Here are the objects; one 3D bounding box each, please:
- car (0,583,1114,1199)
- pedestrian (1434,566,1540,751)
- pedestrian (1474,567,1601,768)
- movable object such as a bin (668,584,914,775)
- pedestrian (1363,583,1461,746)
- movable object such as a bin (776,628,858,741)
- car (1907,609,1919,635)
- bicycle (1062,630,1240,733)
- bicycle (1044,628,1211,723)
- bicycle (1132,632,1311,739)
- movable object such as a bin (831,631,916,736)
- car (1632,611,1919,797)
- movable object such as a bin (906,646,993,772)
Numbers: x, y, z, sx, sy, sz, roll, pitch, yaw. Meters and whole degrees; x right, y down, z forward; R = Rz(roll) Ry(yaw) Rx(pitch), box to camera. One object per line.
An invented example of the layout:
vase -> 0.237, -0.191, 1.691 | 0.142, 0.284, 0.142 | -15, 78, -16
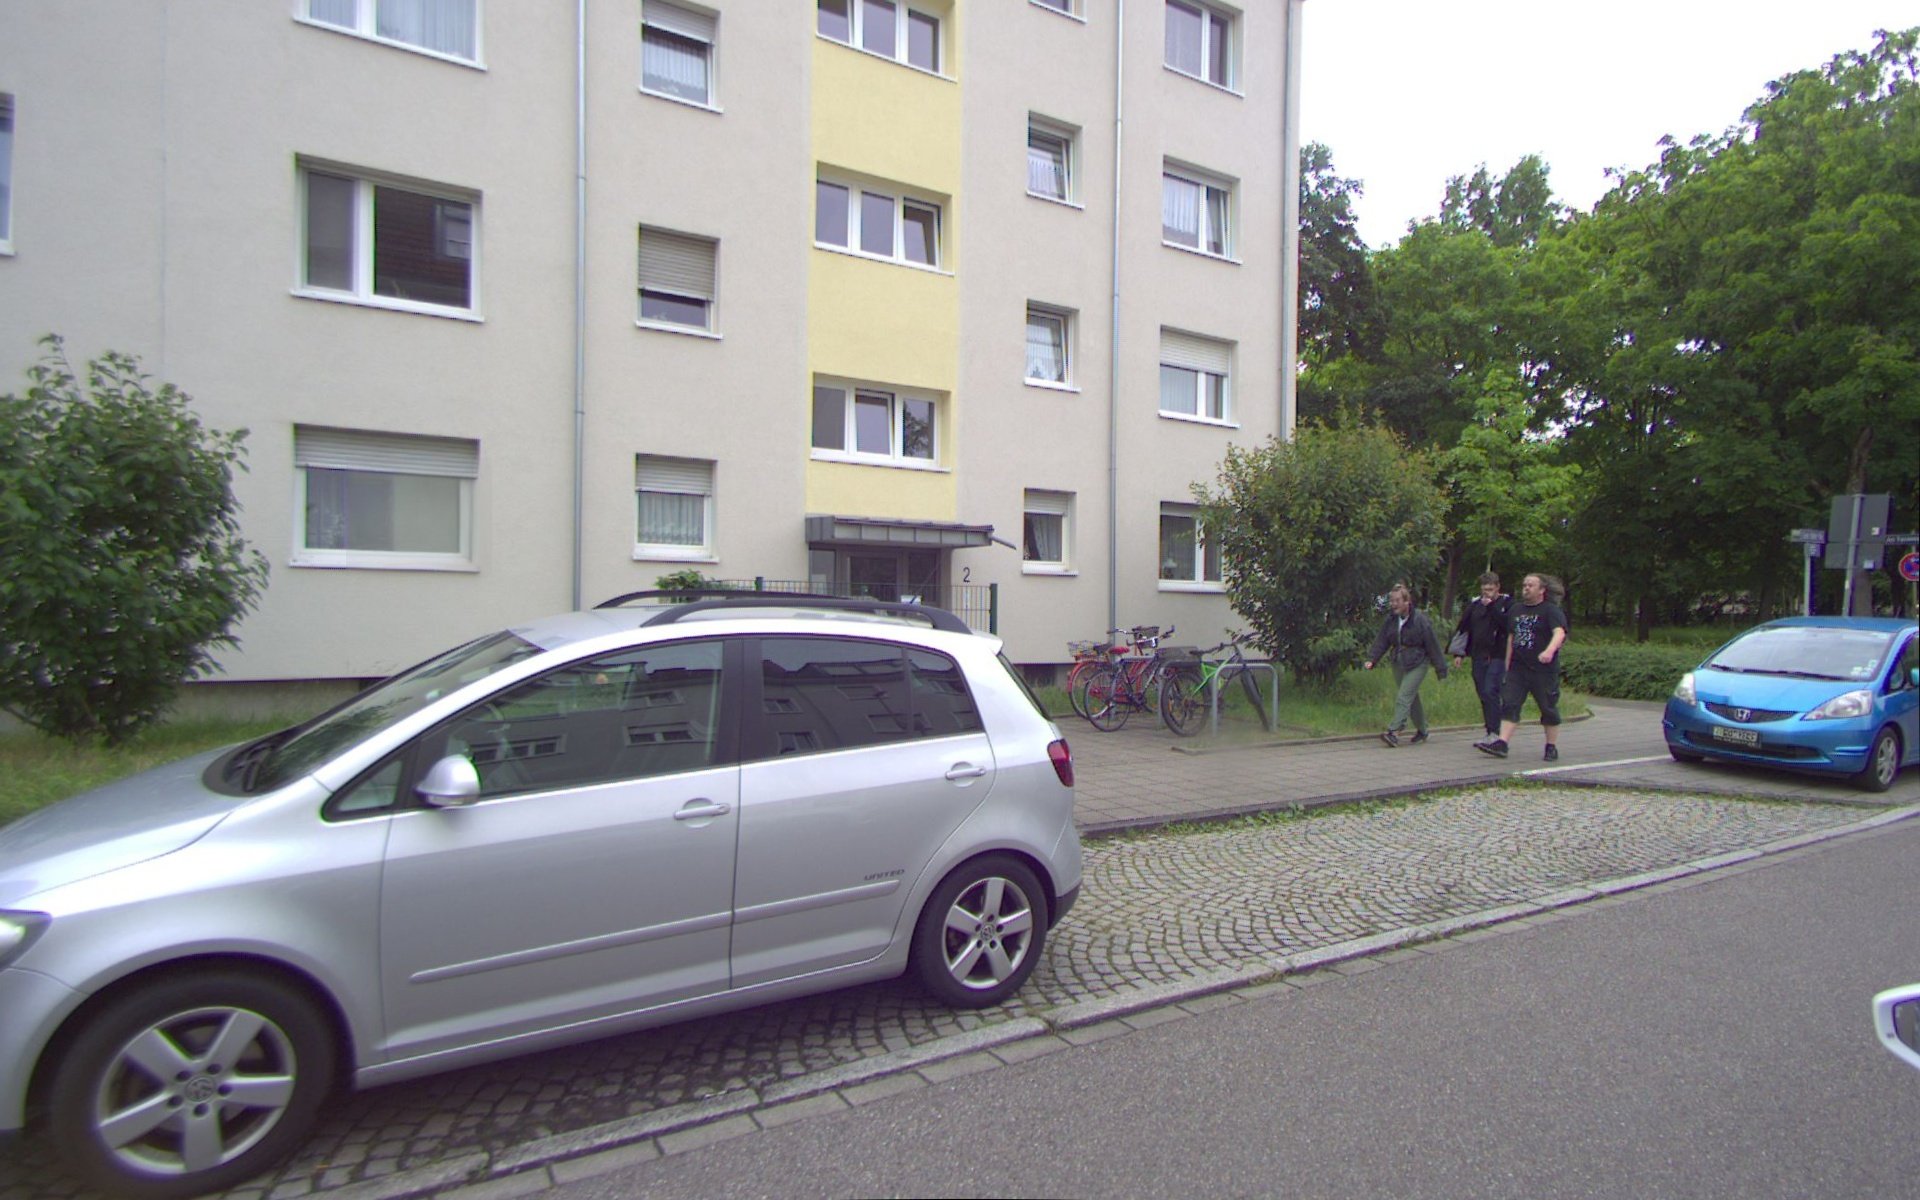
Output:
car -> -1.401, 0.752, 4.046 | 3.871, 1.571, 1.645 | 0, 0, -32
pedestrian -> 5.602, 0.602, 10.693 | 0.754, 1.879, 0.703 | 0, 0, -30
pedestrian -> 5.735, 0.636, 9.980 | 0.963, 1.889, 0.637 | 0, 2, -30
movable object such as a bin -> -1.494, 0.602, 8.686 | 1.652, 1.440, 1.581 | 0, 0, -31
pedestrian -> 4.840, 0.666, 10.765 | 0.793, 1.679, 0.611 | 0, 0, -30
movable object such as a bin -> -1.536, 0.873, 10.737 | 0.591, 1.131, 0.837 | 0, 0, -32
car -> 61.422, 1.383, 63.140 | 3.958, 1.639, 1.906 | 1, 0, -34
bicycle -> 2.265, 0.909, 11.777 | 2.149, 1.085, 0.654 | 0, 0, -30
bicycle -> 2.134, 0.915, 12.645 | 2.149, 1.085, 0.654 | 0, 0, -30
bicycle -> 2.964, 0.919, 11.306 | 2.096, 1.082, 0.654 | 0, 0, -30
movable object such as a bin -> -0.957, 0.892, 11.026 | 0.626, 1.065, 0.859 | 0, 0, -31
car -> 8.779, 0.904, 10.167 | 3.910, 1.482, 1.722 | 1, 2, -30
movable object such as a bin -> -0.096, 0.948, 8.968 | 0.591, 1.047, 0.534 | 0, 0, -31
